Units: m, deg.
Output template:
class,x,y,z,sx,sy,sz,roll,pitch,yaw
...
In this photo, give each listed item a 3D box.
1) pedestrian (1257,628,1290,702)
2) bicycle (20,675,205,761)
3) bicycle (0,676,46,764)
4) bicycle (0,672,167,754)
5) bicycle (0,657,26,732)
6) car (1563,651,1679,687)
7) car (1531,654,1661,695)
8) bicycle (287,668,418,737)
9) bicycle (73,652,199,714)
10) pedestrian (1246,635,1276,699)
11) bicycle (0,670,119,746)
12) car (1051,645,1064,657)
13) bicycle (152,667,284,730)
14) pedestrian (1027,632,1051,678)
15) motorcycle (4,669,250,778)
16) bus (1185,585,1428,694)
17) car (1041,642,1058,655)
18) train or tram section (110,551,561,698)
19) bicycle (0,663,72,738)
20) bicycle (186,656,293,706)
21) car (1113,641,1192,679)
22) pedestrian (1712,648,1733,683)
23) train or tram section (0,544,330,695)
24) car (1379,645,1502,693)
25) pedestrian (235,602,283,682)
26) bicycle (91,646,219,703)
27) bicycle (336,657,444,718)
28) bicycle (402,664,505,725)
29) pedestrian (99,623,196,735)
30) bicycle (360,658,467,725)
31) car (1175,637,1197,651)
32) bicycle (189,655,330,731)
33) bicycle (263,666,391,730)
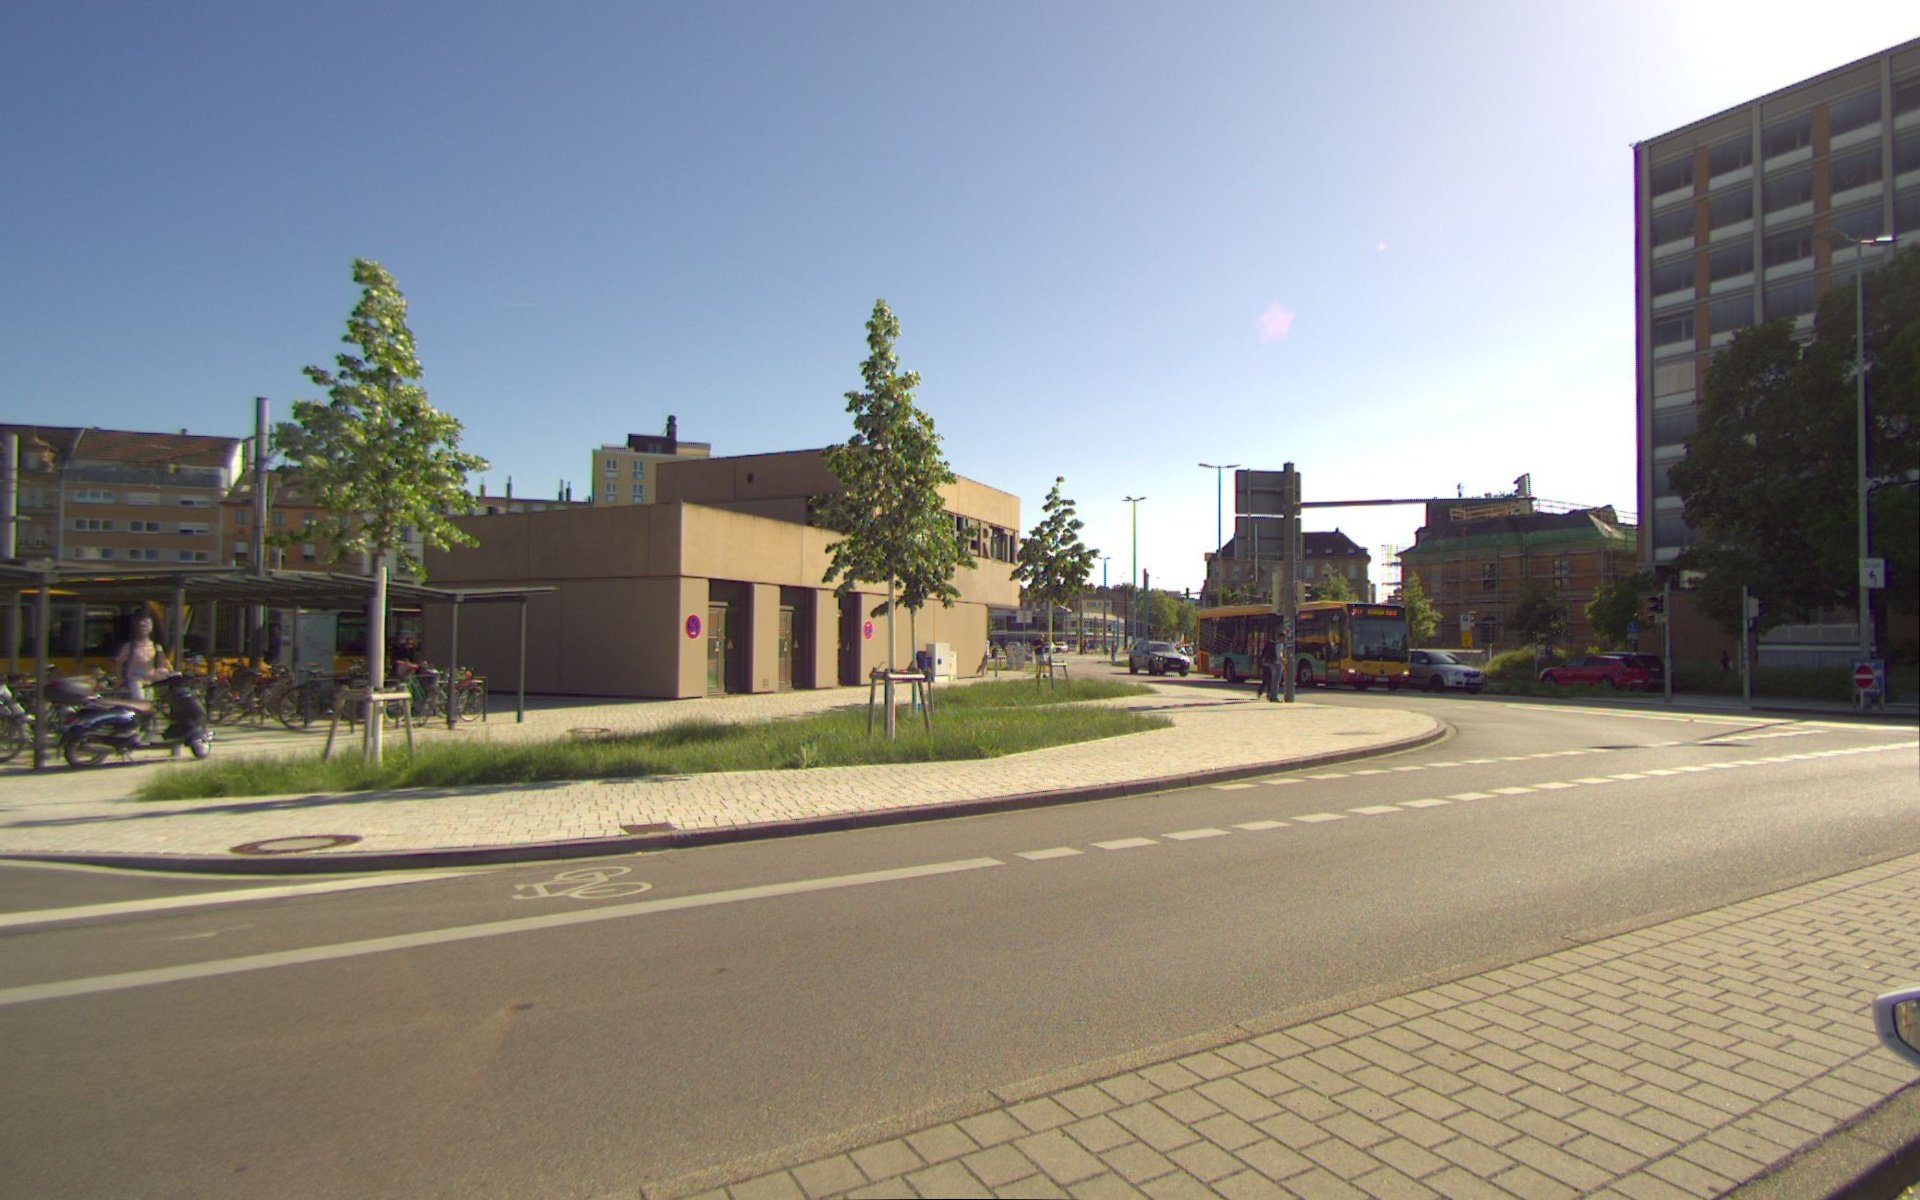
class,x,y,z,sx,sy,sz,roll,pitch,yaw
pedestrian,8.088,1.680,25.940,0.594,1.880,0.681,1,-2,-7
bicycle,-11.576,1.579,13.794,0.617,1.021,1.829,0,-2,25
bicycle,-12.452,1.495,12.180,0.677,1.055,1.891,0,-2,27
bicycle,-12.659,1.579,14.346,0.617,1.021,2.026,0,-2,25
bicycle,-15.966,1.509,15.739,0.617,1.176,1.829,0,-2,25
car,29.324,3.024,44.704,2.031,1.458,4.047,1,-2,-14
car,25.205,2.901,39.960,2.033,1.458,4.043,1,-2,-18
bicycle,-10.210,1.696,16.957,0.617,1.021,1.828,0,-2,27
bicycle,-16.449,1.635,20.102,0.617,1.146,1.828,0,-2,27
pedestrian,8.186,1.809,27.345,0.594,1.719,0.634,1,-2,-7
bicycle,-13.642,1.572,14.786,0.617,1.021,1.829,0,-2,25
car,14.665,7.613,150.690,1.865,1.728,4.003,0,-2,8
bicycle,-13.403,1.763,18.211,0.617,1.021,1.828,0,-2,27
pedestrian,3.296,2.293,41.909,0.826,1.869,0.866,1,-2,-7
motorcycle,-10.458,1.497,12.749,0.599,1.173,2.360,0,-2,25
bus,13.037,1.520,39.808,3.193,3.617,12.437,1,-2,-12
car,12.636,6.785,141.930,1.959,1.814,4.003,0,-2,11
train or tram section,-18.209,0.836,31.088,2.702,3.648,12.318,0,-2,25
bicycle,-14.810,1.540,15.285,0.617,1.094,1.829,0,-2,25
bicycle,-15.796,1.757,22.077,0.617,1.021,1.829,0,-2,25
car,10.119,3.142,53.143,1.975,1.885,4.720,1,-2,-21
pedestrian,35.959,3.088,47.368,0.545,1.591,0.534,1,-2,-5
train or tram section,-23.684,0.542,26.643,2.779,3.648,12.320,0,-2,24
car,16.990,2.418,35.722,1.861,1.421,3.845,4,-2,-15
pedestrian,-16.725,1.004,23.981,0.738,1.880,0.709,1,-2,-19
bicycle,-15.531,1.416,19.439,0.617,1.021,1.828,0,-2,27
bicycle,-11.284,1.706,19.962,0.617,1.107,1.829,0,-2,25
bicycle,-9.361,1.726,18.658,0.616,1.021,1.832,0,-2,16
pedestrian,-13.089,1.248,16.185,1.005,1.727,0.838,0,-2,26
bicycle,-10.281,1.693,18.957,0.616,1.161,1.831,0,-2,18
car,27.988,5.461,124.432,1.960,1.603,4.001,2,0,2
bicycle,-12.427,1.620,17.902,0.496,1.225,2.051,0,-2,26
bicycle,-11.153,1.699,17.774,0.492,1.010,1.887,-1,-2,31
